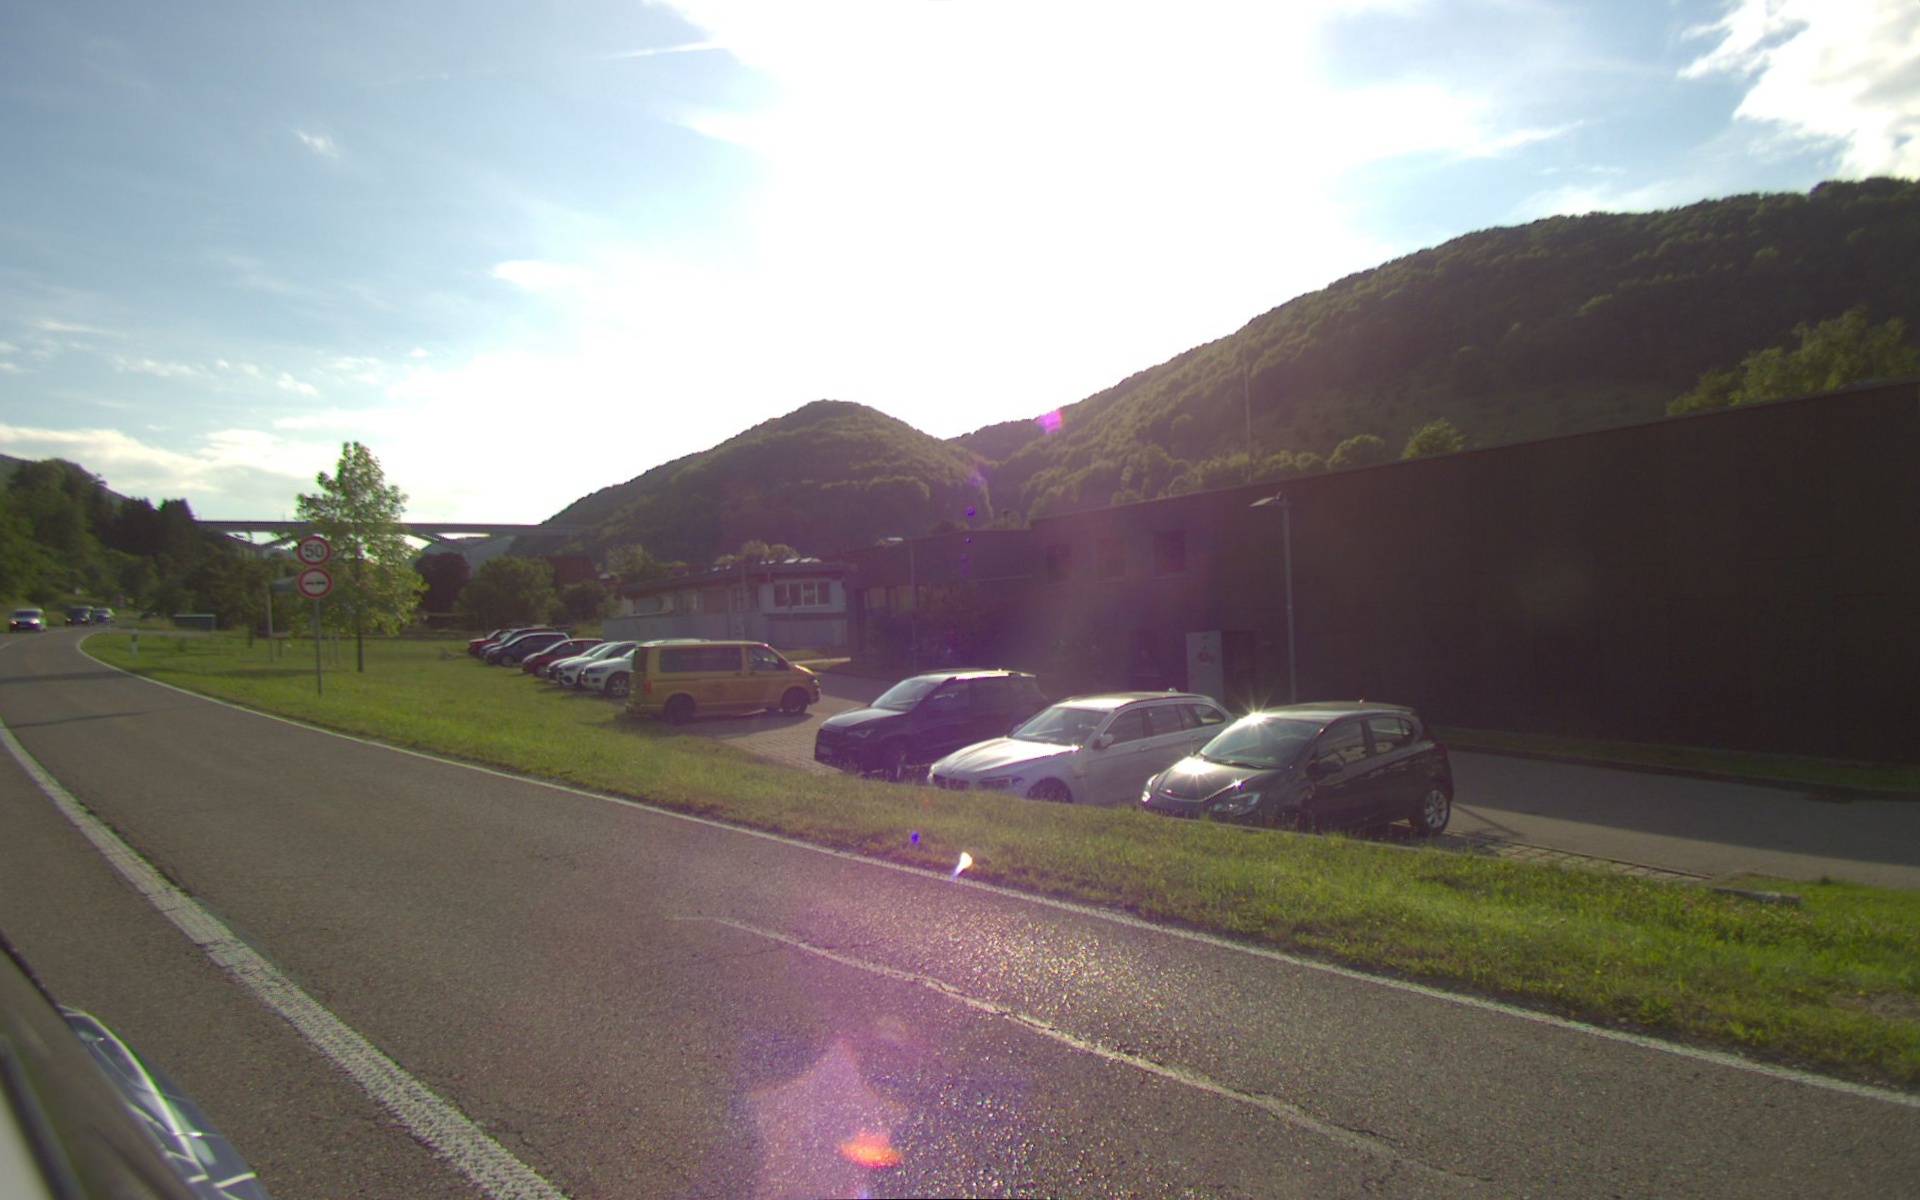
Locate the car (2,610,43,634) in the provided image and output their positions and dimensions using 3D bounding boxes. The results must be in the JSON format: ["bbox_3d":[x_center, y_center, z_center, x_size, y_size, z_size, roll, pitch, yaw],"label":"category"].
[{"bbox_3d":[-71.203,1.654,76.927,1.770,1.749,4.293,-1,-1,-36],"label":"car"}]

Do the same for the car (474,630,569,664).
[{"bbox_3d":[-24.201,2.552,55.882,4.595,1.776,2.006,0,-2,-31],"label":"car"}]

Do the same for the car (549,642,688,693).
[{"bbox_3d":[-12.099,2.343,35.869,4.370,1.599,2.006,0,-2,-30],"label":"car"}]

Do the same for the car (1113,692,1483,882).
[{"bbox_3d":[3.853,1.942,11.429,3.932,1.546,1.839,0,-2,-31],"label":"car"}]

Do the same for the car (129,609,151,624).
[{"bbox_3d":[-110.540,2.165,136.428,1.880,1.918,4.011,0,0,-32],"label":"car"}]

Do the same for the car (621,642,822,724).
[{"bbox_3d":[-6.040,2.023,25.713,4.583,1.827,2.006,0,-2,-30],"label":"car"}]

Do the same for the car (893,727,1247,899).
[{"bbox_3d":[1.561,2.677,13.576,4.577,1.508,1.918,1,-2,-34],"label":"car"}]

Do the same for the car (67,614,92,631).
[{"bbox_3d":[-86.970,2.245,100.006,1.653,1.659,3.353,0,-1,-37],"label":"car"}]

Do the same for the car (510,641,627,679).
[{"bbox_3d":[-16.604,2.511,42.986,4.370,1.463,2.006,0,-2,-30],"label":"car"}]

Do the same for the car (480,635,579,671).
[{"bbox_3d":[-21.955,2.673,51.610,4.371,1.595,2.006,-1,-1,-31],"label":"car"}]

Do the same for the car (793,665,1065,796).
[{"bbox_3d":[-0.476,2.087,17.204,4.226,1.650,1.917,-2,-1,-35],"label":"car"}]

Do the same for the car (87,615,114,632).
[{"bbox_3d":[-95.146,2.573,112.029,1.967,1.730,4.009,-1,-1,-36],"label":"car"}]

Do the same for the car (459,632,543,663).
[{"bbox_3d":[-27.308,2.790,60.217,4.371,1.733,2.006,0,-2,-31],"label":"car"}]

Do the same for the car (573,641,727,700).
[{"bbox_3d":[-10.076,2.247,32.998,4.477,1.714,2.006,0,-2,-30],"label":"car"}]

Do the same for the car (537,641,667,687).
[{"bbox_3d":[-13.725,2.392,38.837,4.371,1.595,2.006,1,-2,-32],"label":"car"}]
